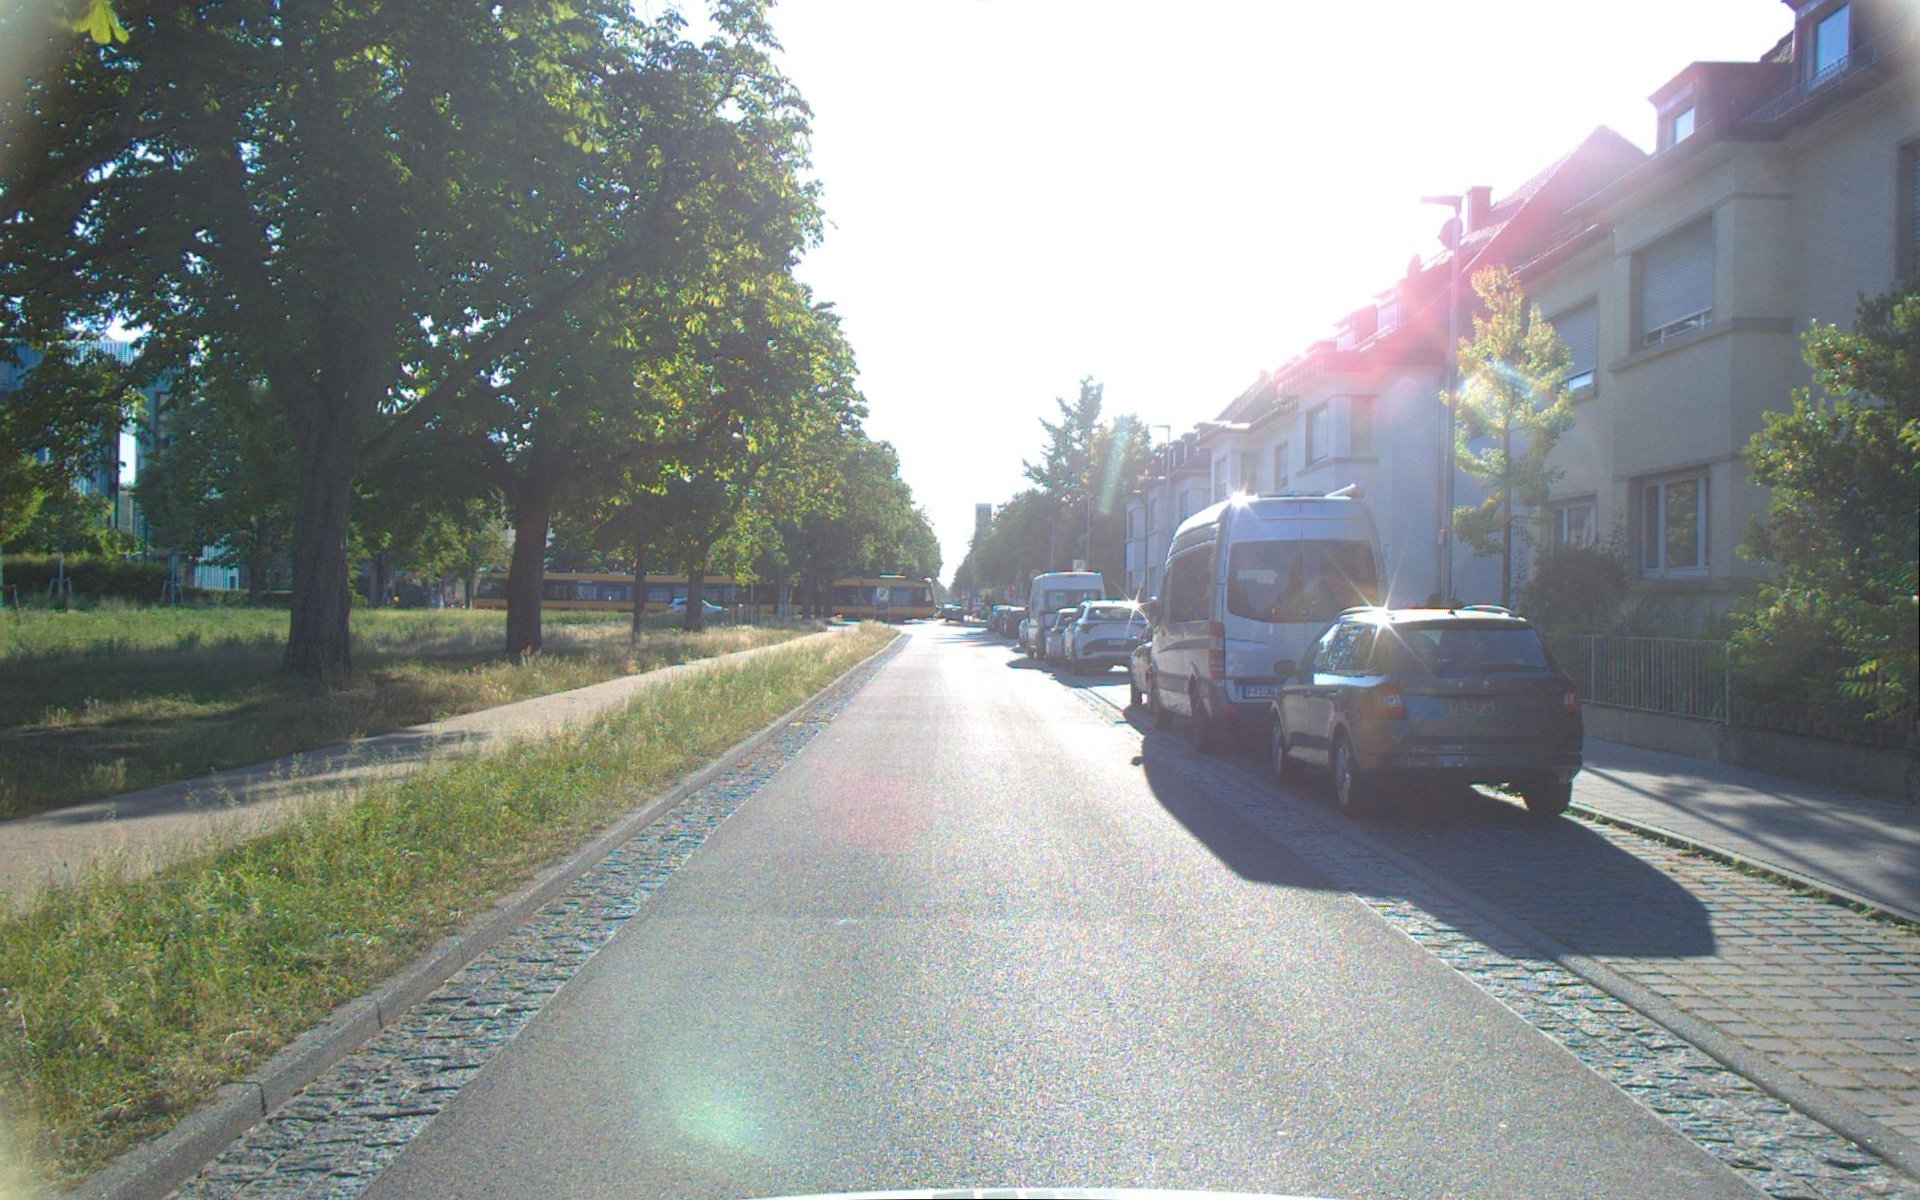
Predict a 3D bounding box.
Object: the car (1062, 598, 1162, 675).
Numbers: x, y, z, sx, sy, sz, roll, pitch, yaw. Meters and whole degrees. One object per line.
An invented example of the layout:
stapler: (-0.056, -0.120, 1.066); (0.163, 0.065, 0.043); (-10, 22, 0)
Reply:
car: (3.462, 0.794, 38.332); (1.800, 1.664, 4.129); (0, 0, -2)

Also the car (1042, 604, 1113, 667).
car: (3.040, 0.887, 43.426); (1.616, 1.557, 3.851); (0, 0, 1)

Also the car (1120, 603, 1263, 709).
car: (3.495, 0.822, 25.630); (1.588, 1.435, 3.968); (-3, -1, 0)

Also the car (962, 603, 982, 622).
car: (0.985, 1.045, 137.327); (1.616, 1.557, 3.851); (0, 0, 1)

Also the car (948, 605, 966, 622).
car: (-0.250, 1.245, 155.757); (1.616, 1.557, 3.851); (0, 0, 1)

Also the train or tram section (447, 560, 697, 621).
train or tram section: (-30.320, -0.691, 130.279); (18.709, 4.025, 3.638); (2, -1, -7)

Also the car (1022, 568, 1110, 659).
car: (3.125, 0.392, 49.756); (2.084, 2.577, 5.186); (0, 0, -2)

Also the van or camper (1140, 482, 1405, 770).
van or camper: (3.457, 0.304, 19.531); (1.904, 2.826, 5.938); (2, -1, 0)

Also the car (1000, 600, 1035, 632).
car: (2.818, 0.769, 81.490); (1.616, 1.557, 3.851); (0, 0, 1)

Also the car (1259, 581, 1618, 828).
car: (3.603, 0.712, 13.219); (1.630, 1.621, 4.085); (-2, 0, 0)

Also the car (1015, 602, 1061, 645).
car: (2.921, 0.848, 62.390); (1.616, 1.557, 3.851); (0, 0, 1)

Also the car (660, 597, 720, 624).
car: (-19.979, 0.761, 122.421); (4.266, 1.795, 1.996); (2, -1, -9)

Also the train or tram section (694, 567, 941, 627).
train or tram section: (-11.363, -0.226, 132.560); (19.402, 4.025, 3.639); (2, -1, -6)

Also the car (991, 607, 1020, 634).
car: (2.700, 1.227, 98.575); (1.616, 1.557, 3.851); (0, 0, 1)
